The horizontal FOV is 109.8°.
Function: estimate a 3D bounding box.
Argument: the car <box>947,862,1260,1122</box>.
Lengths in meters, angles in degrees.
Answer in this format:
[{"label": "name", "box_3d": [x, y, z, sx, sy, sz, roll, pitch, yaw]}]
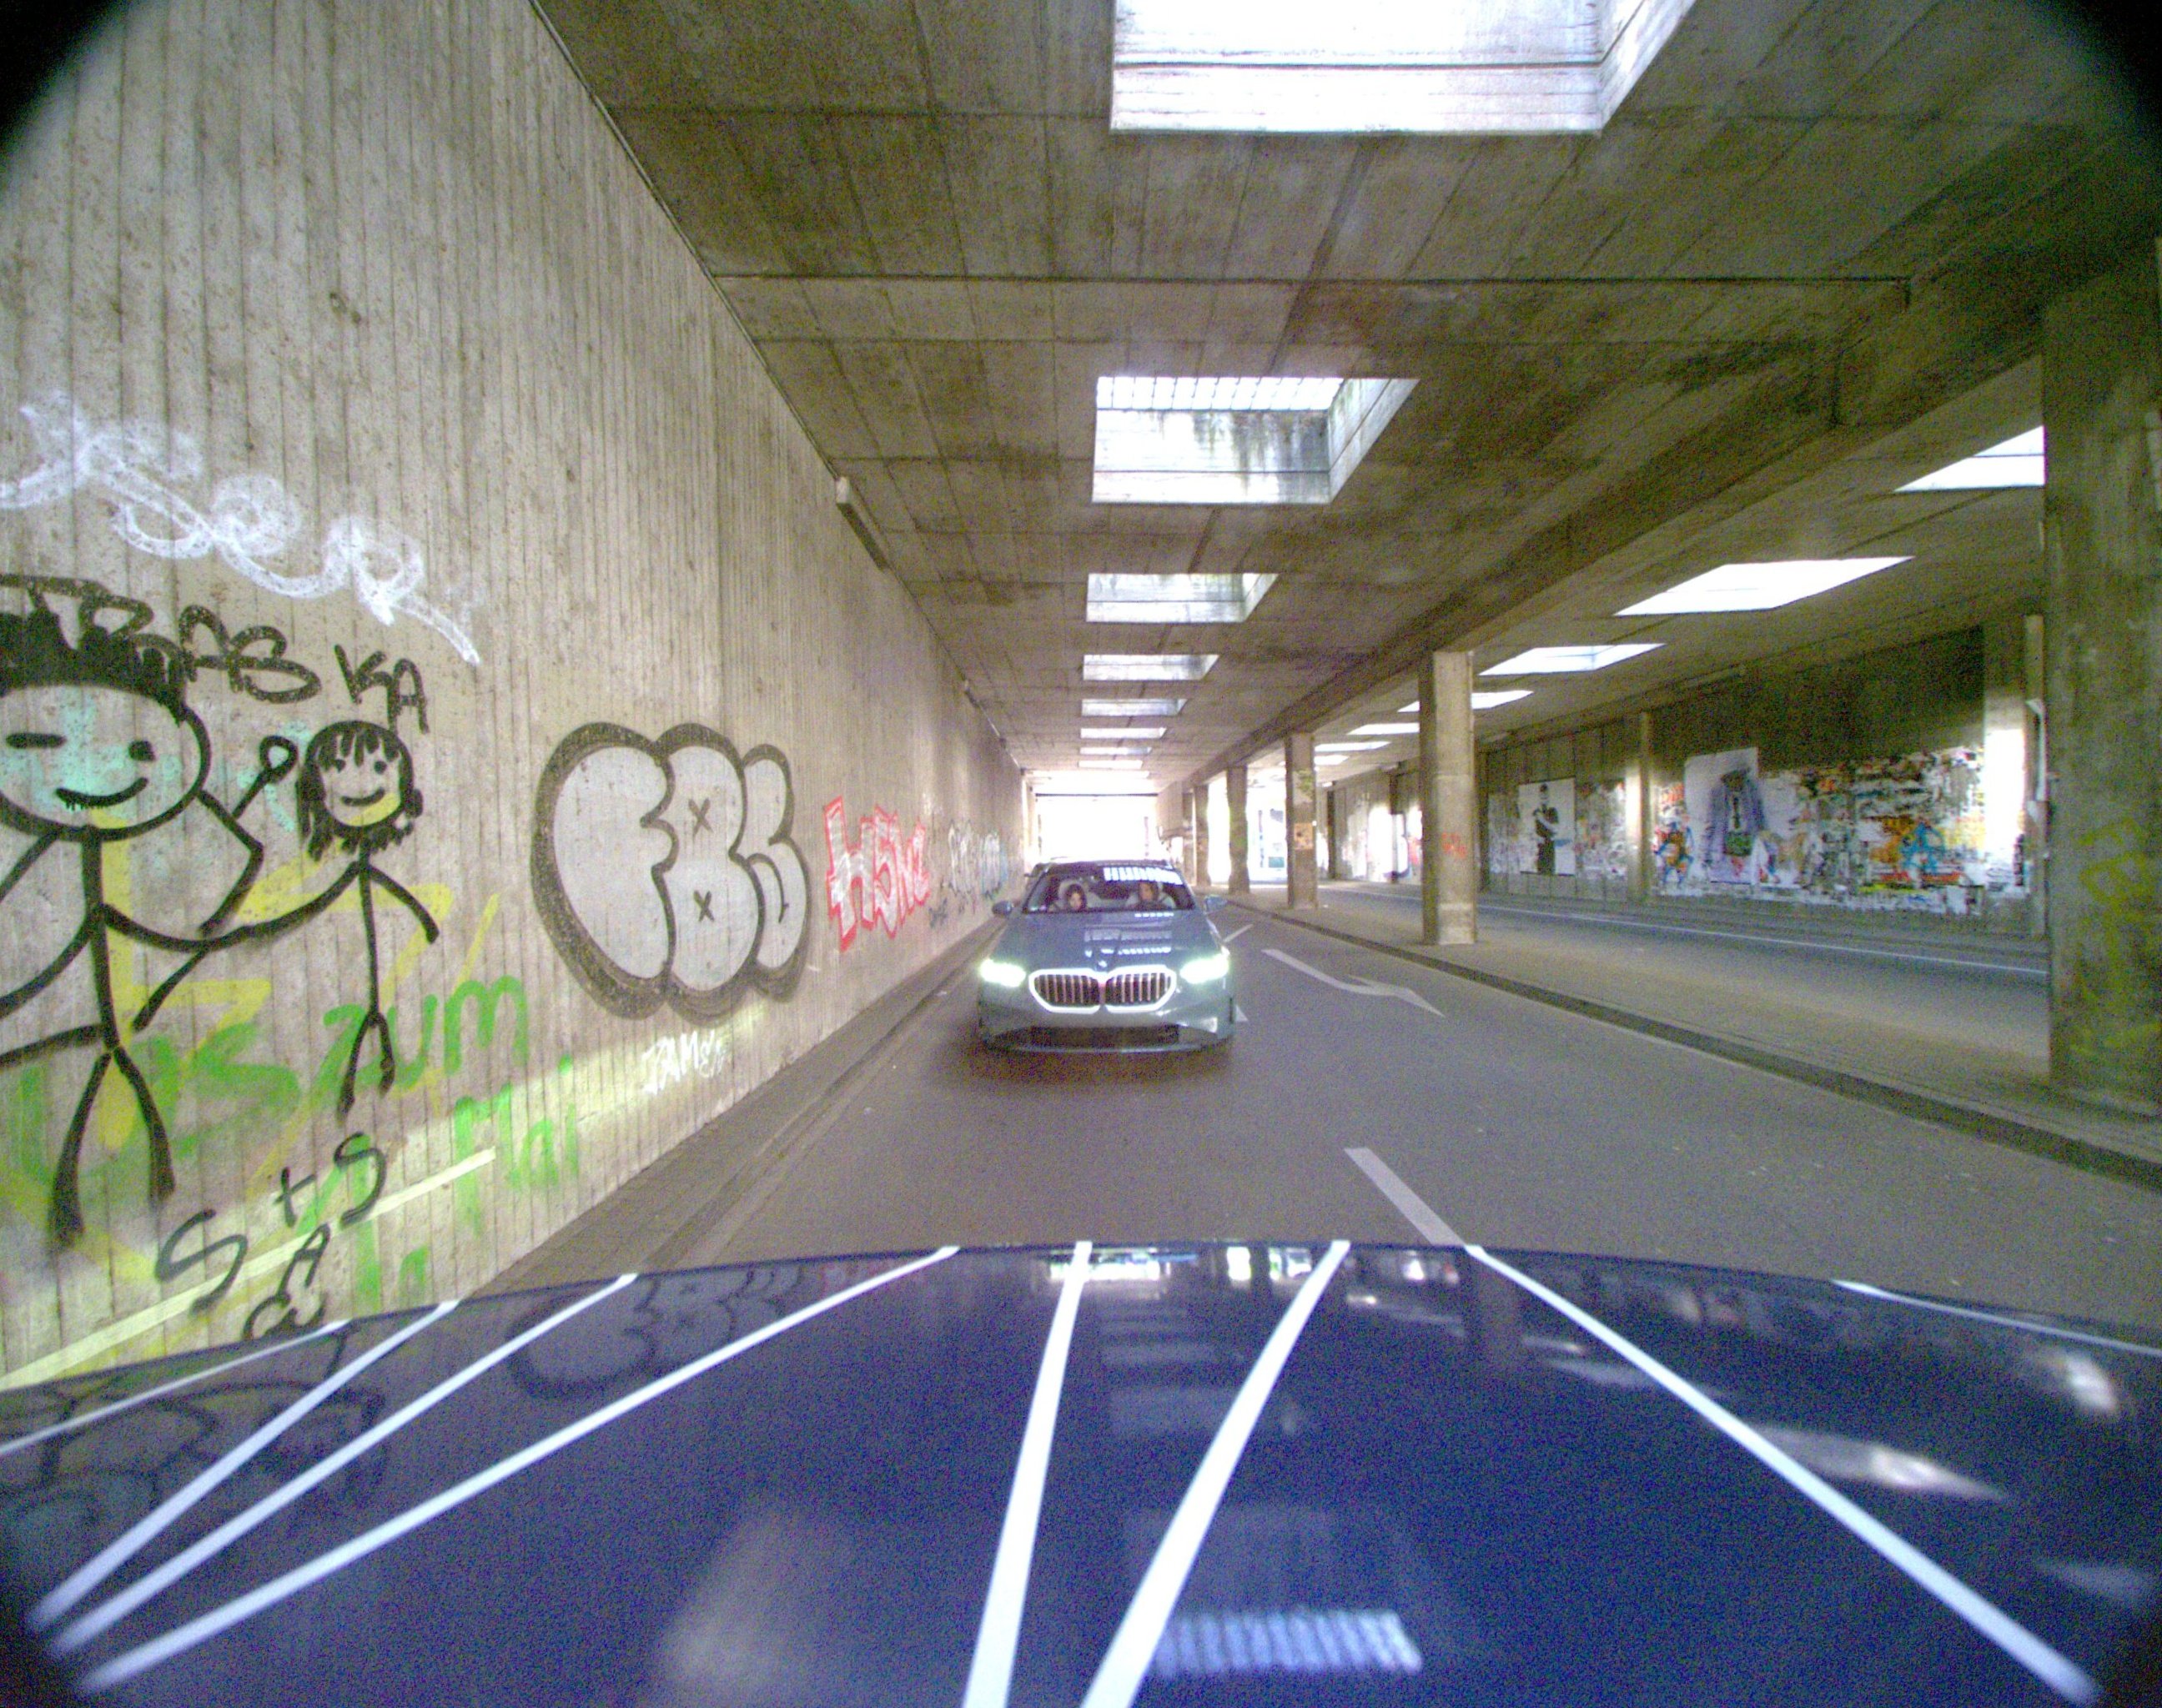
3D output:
[{"label": "car", "box_3d": [0.176, 0.906, 7.330, 1.957, 1.546, 5.040, -1, 0, 1]}]

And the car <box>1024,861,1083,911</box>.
[{"label": "car", "box_3d": [-0.785, 0.931, 23.804, 1.616, 1.367, 4.199, -1, 0, 1]}]

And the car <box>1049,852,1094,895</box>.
[{"label": "car", "box_3d": [-0.331, 0.704, 29.980, 1.616, 1.546, 4.013, -1, 0, 1]}]

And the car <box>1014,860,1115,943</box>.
[{"label": "car", "box_3d": [-0.299, 0.941, 17.009, 1.957, 1.546, 4.247, -1, 0, 1]}]

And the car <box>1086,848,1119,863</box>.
[{"label": "car", "box_3d": [2.310, 0.152, 79.325, 1.929, 1.543, 4.007, -1, 0, 27]}]
